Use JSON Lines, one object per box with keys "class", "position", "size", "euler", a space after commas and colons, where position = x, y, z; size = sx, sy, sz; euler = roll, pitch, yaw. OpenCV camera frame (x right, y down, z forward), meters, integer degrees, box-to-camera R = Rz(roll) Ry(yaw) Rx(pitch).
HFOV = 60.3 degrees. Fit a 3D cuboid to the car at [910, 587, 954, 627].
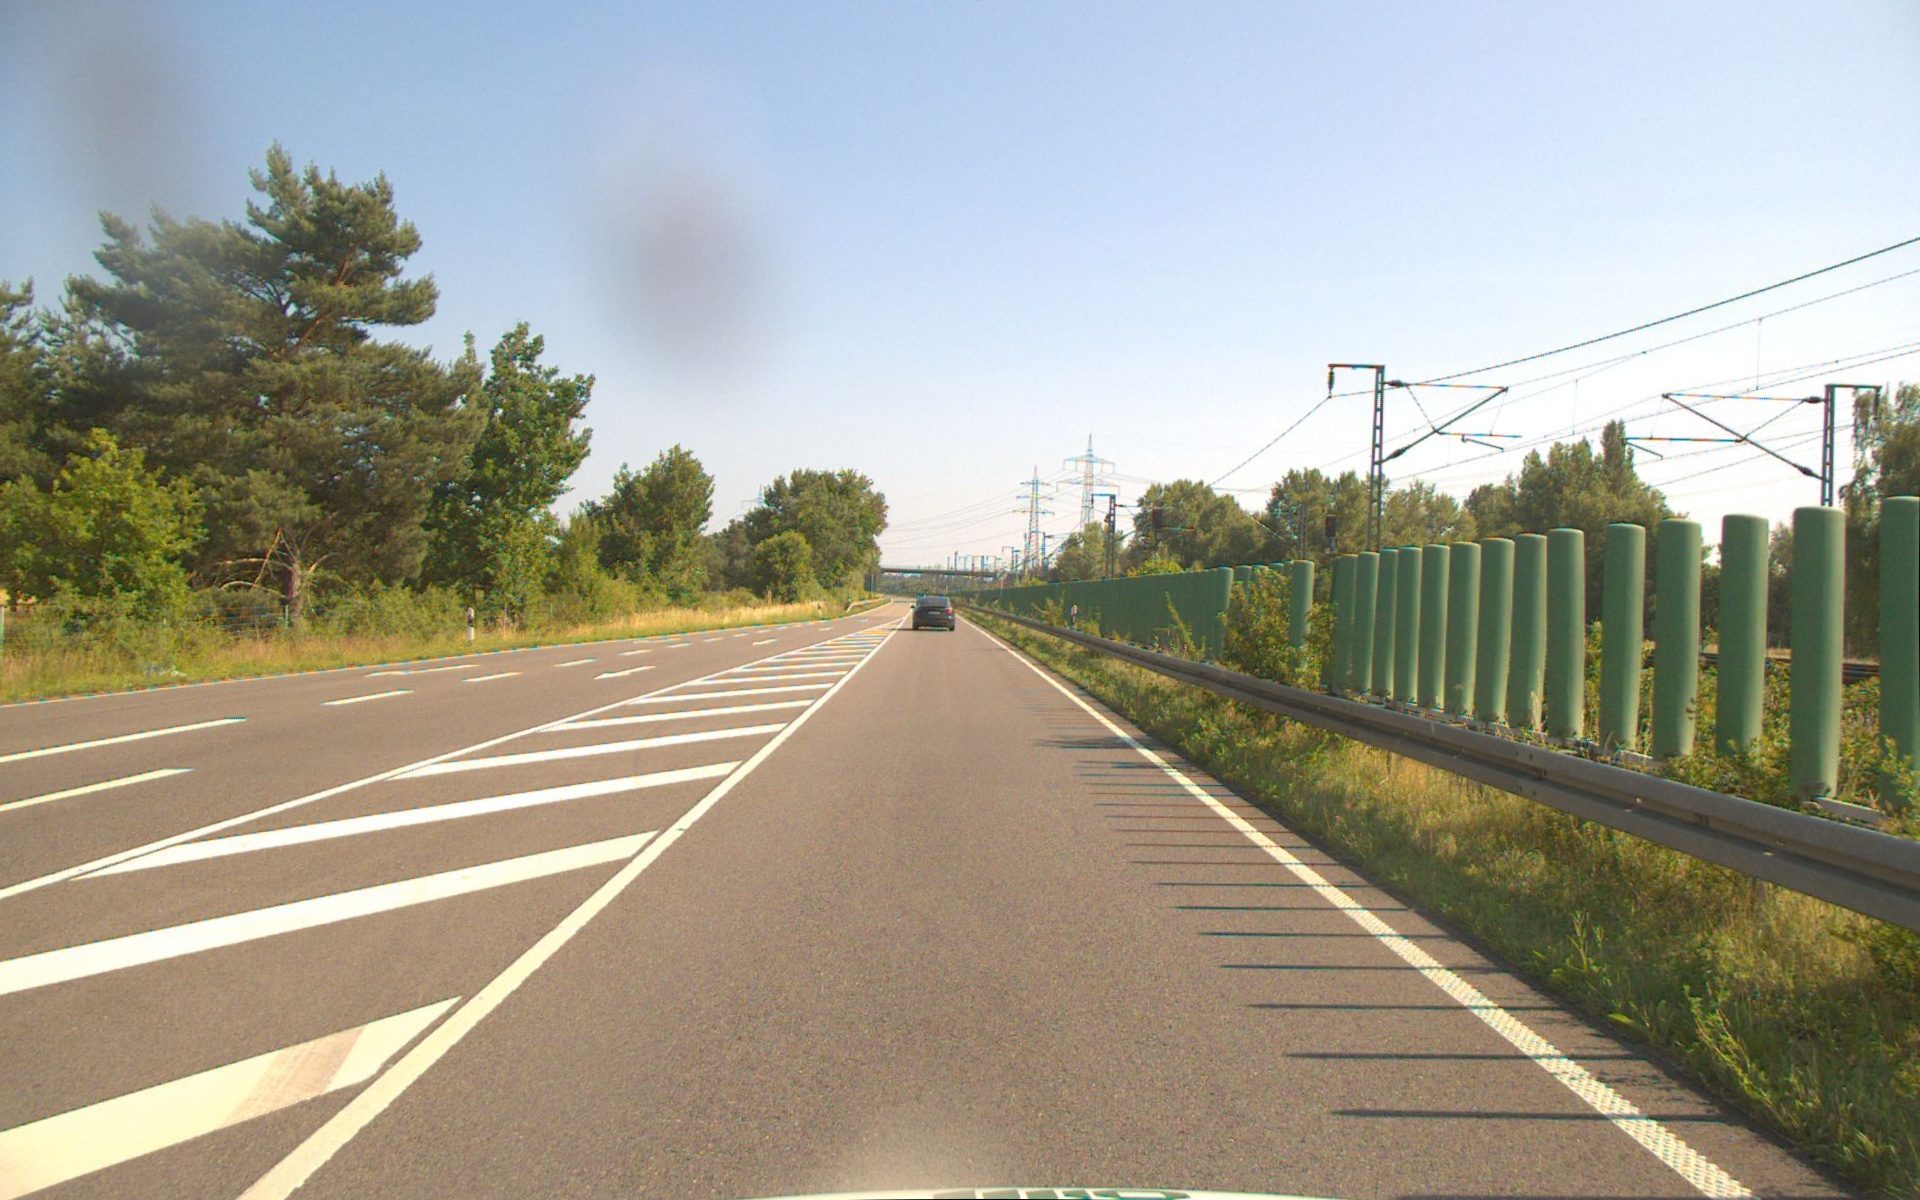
{"class": "car", "position": [-1.180, 0.293, 71.342], "size": [1.821, 1.670, 4.000], "euler": [0, 0, -1]}
